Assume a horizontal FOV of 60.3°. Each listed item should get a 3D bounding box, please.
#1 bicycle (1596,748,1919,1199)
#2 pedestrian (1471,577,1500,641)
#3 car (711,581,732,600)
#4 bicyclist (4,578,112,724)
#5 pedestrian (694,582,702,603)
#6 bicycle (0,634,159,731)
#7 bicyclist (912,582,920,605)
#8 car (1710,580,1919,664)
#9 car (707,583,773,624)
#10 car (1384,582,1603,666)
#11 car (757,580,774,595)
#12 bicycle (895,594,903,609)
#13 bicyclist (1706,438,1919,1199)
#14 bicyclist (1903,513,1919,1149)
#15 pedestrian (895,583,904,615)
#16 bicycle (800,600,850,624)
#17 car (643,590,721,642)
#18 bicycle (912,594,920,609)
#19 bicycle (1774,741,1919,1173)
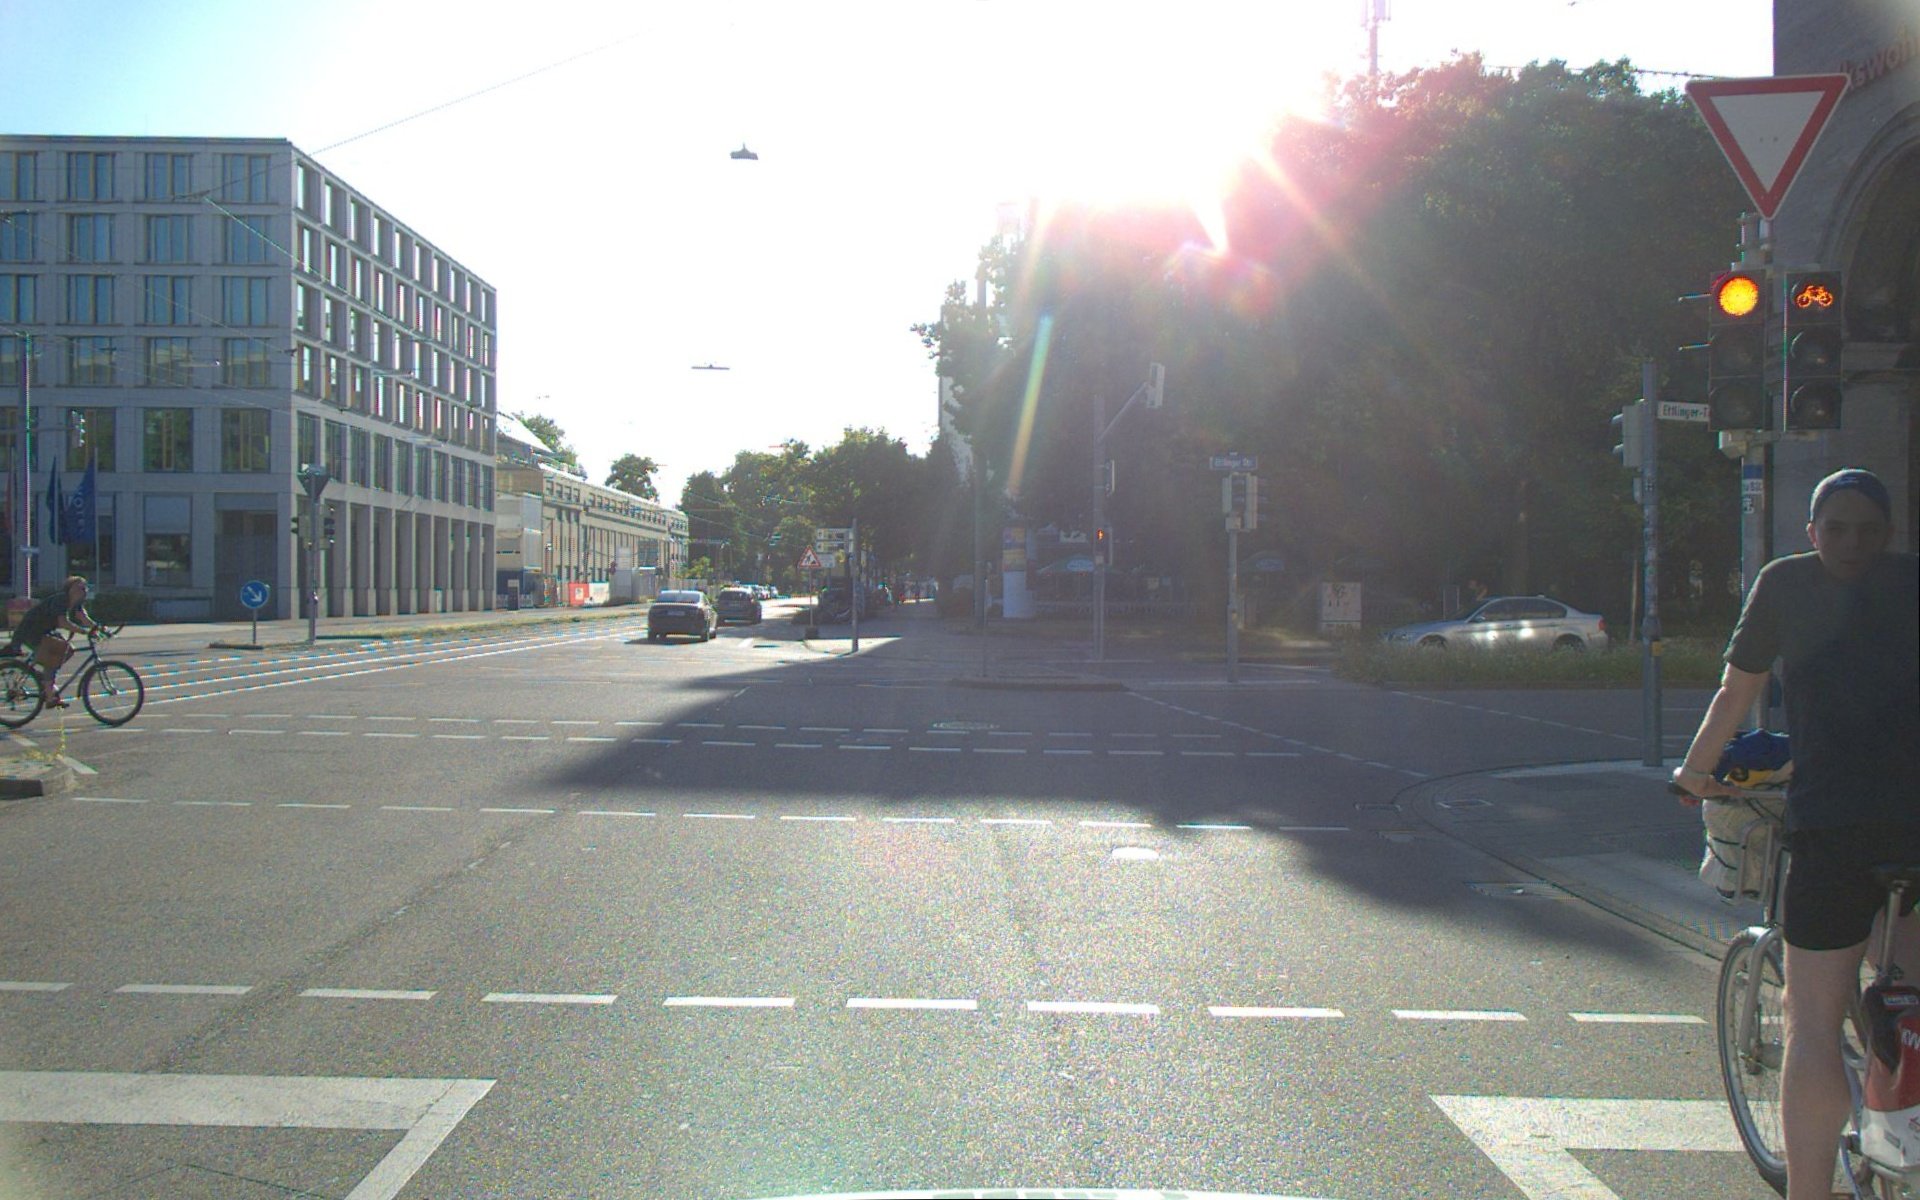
[{"bbox_3d":[2.073,0.982,3.897,0.505,1.096,1.728,1,0,1],"label":"bicycle"},{"bbox_3d":[14.077,0.224,44.316,0.571,1.692,0.514,1,1,1],"label":"pedestrian"},{"bbox_3d":[-22.483,-0.895,156.117,1.659,1.748,4.244,1,0,-4],"label":"car"},{"bbox_3d":[-9.289,0.513,17.052,0.782,1.476,0.617,0,0,-5],"label":"bicyclist"},{"bbox_3d":[-25.298,-0.726,159.527,0.660,2.049,0.751,1,-1,-3],"label":"pedestrian"},{"bbox_3d":[-9.280,0.845,17.044,1.709,0.951,0.645,0,0,-5],"label":"bicycle"},{"bbox_3d":[-3.287,-0.500,124.314,0.558,1.721,0.699,0,0,-1],"label":"bicyclist"},{"bbox_3d":[17.478,0.437,33.557,3.770,1.639,1.650,0,0,-1],"label":"car"},{"bbox_3d":[-9.267,0.140,70.088,1.853,1.592,4.810,3,1,3],"label":"car"},{"bbox_3d":[10.770,0.477,33.569,3.912,1.639,1.650,0,0,-1],"label":"car"},{"bbox_3d":[-22.845,-1.432,194.366,1.659,1.748,4.244,1,0,-4],"label":"car"},{"bbox_3d":[-4.576,0.093,124.053,0.563,1.096,1.830,0,0,-1],"label":"bicycle"},{"bbox_3d":[2.091,0.579,3.738,0.547,1.830,0.550,1,0,1],"label":"bicyclist"},{"bbox_3d":[2.885,0.628,4.237,0.546,1.721,0.640,1,0,-2],"label":"bicyclist"},{"bbox_3d":[-3.592,-0.060,98.251,0.454,1.845,0.502,0,0,-5],"label":"pedestrian"},{"bbox_3d":[-5.492,0.508,67.390,1.976,0.907,0.650,-2,-1,27],"label":"bicycle"},{"bbox_3d":[-8.308,0.458,49.716,1.626,1.481,4.431,1,0,-1],"label":"car"},{"bbox_3d":[-3.287,0.115,124.314,0.563,1.096,1.830,0,0,-1],"label":"bicycle"},{"bbox_3d":[2.860,1.001,4.345,0.523,1.096,1.750,1,0,-2],"label":"bicycle"}]
